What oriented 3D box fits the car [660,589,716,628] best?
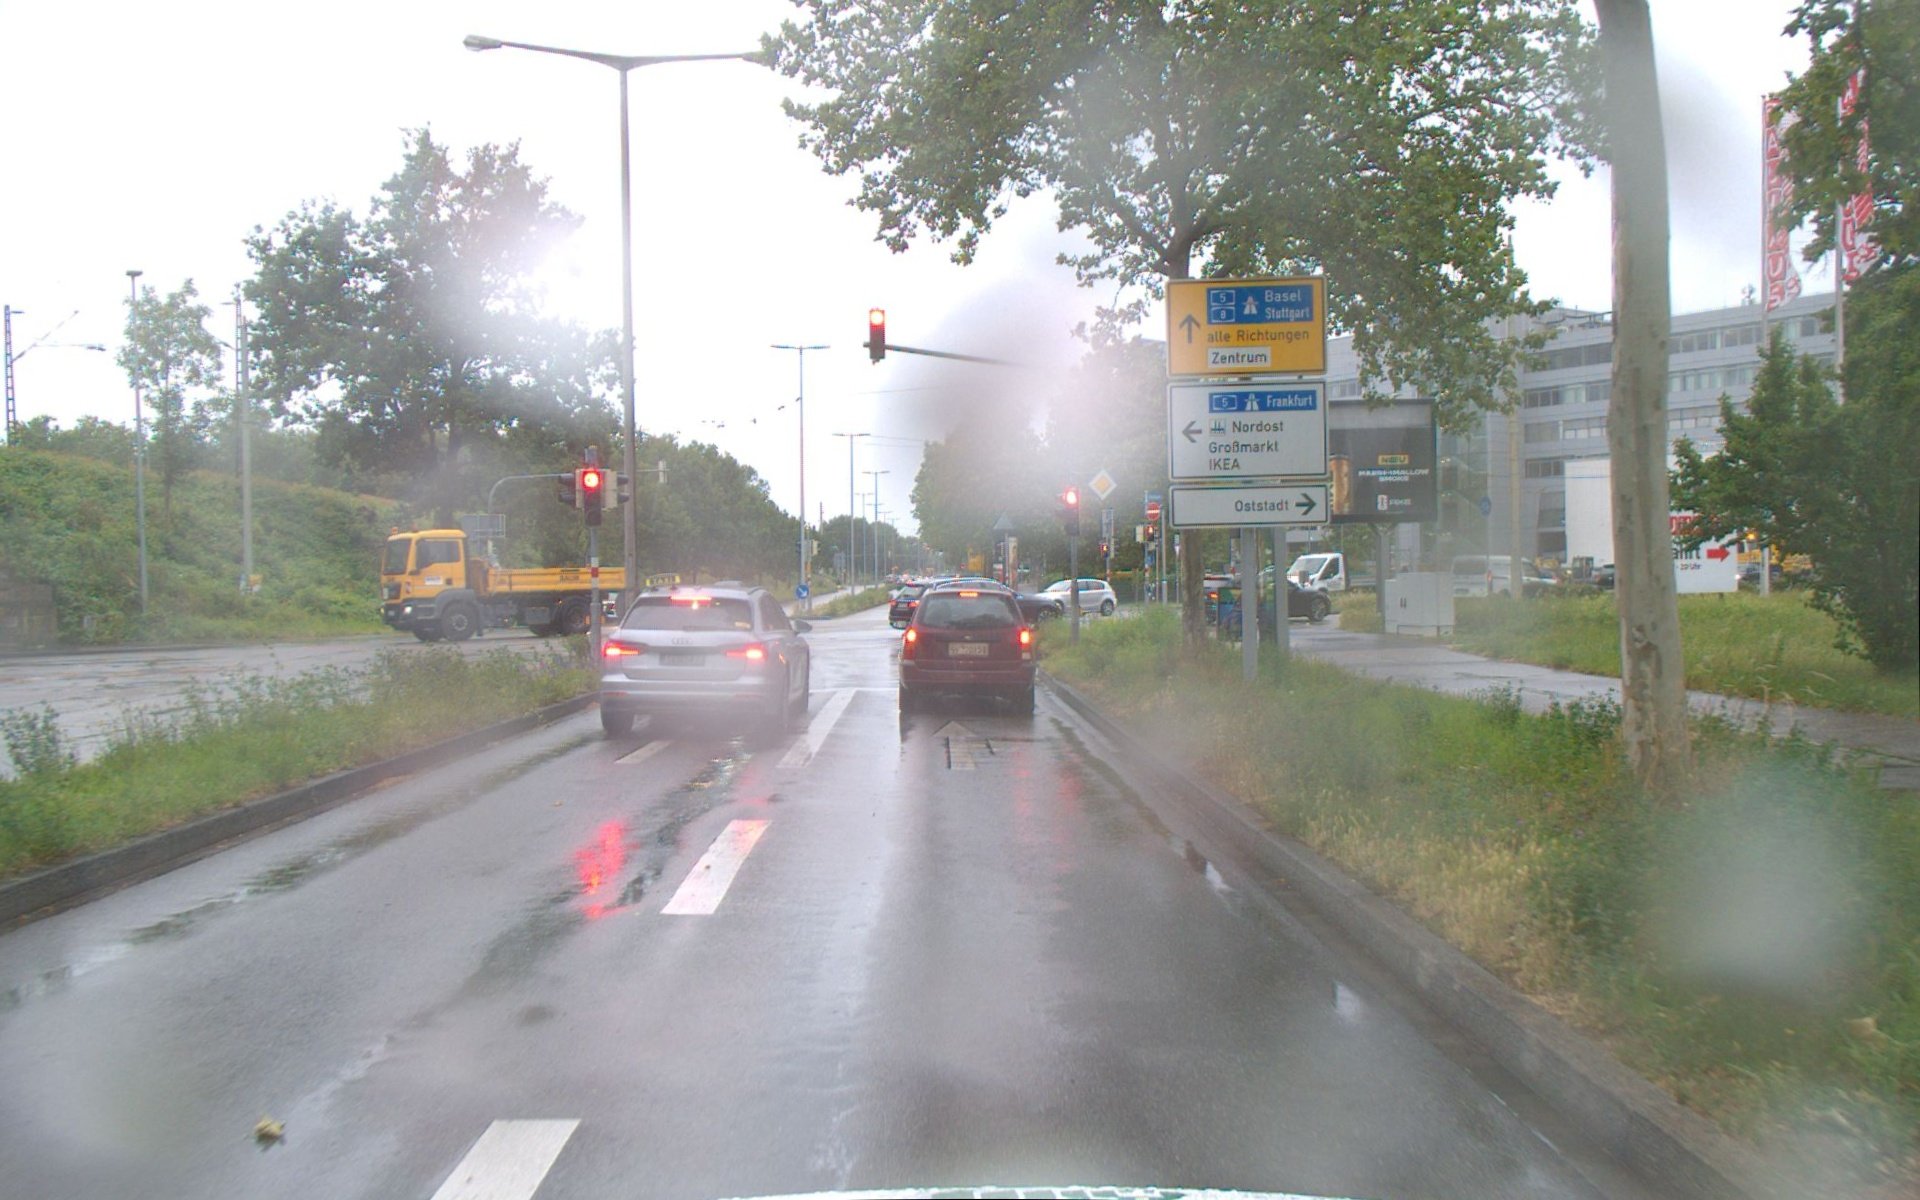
[{"bbox_3d":[-11.333,0.329,69.085,1.678,1.556,3.999,-1,1,-1],"label":"car"}]

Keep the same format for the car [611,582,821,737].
[{"bbox_3d":[-2.500,0.549,17.907,1.656,1.458,4.573,0,0,-1],"label":"car"}]

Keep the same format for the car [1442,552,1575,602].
[{"bbox_3d":[18.176,-0.770,54.798,4.327,1.564,1.784,-1,0,-30],"label":"car"}]

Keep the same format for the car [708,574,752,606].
[{"bbox_3d":[-11.618,-0.497,83.704,1.678,1.556,3.999,-1,1,-1],"label":"car"}]

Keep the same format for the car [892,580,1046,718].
[{"bbox_3d":[0.072,0.549,21.270,1.760,1.564,4.386,1,0,-1],"label":"car"}]

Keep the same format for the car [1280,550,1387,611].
[{"bbox_3d":[15.215,-0.816,67.335,4.339,2.228,1.779,-4,2,-36],"label":"car"}]

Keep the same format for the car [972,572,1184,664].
[{"bbox_3d":[2.469,0.307,33.855,4.349,1.563,1.775,-4,3,-41],"label":"car"}]

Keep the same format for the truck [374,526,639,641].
[{"bbox_3d":[-13.074,-0.492,48.003,6.977,3.107,2.611,-1,0,-38],"label":"truck"}]

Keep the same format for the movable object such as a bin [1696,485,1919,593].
[{"bbox_3d":[57.273,-3.737,108.177,8.168,6.393,14.792,1,0,-34],"label":"movable object such as a bin"}]

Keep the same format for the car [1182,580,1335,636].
[{"bbox_3d":[8.766,0.211,48.512,4.327,1.564,1.784,0,0,-30],"label":"car"}]

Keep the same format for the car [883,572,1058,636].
[{"bbox_3d":[0.290,0.076,43.450,4.327,1.564,1.784,-1,0,-30],"label":"car"}]

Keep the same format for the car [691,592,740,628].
[{"bbox_3d":[-11.152,0.454,75.666,1.678,1.556,3.999,-1,1,-1],"label":"car"}]
